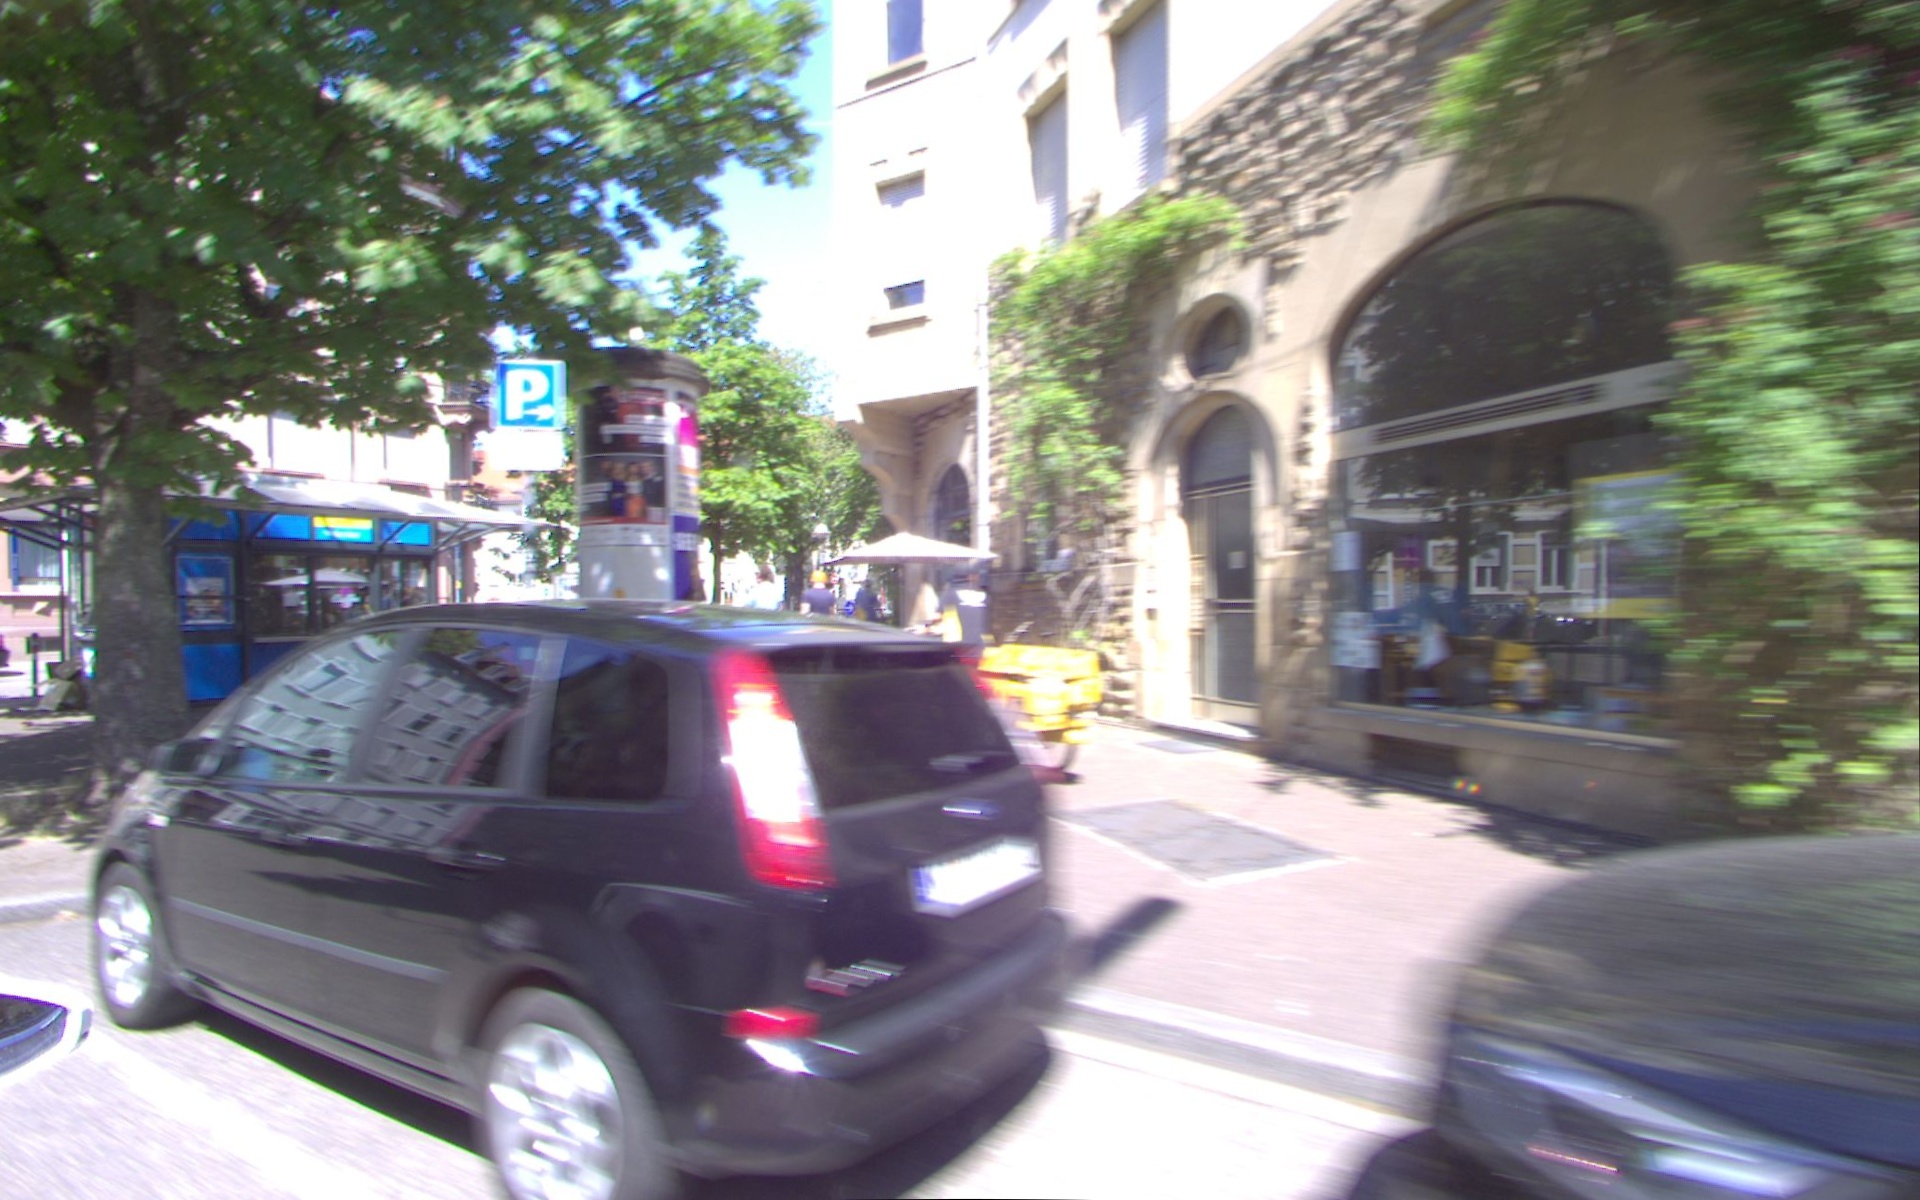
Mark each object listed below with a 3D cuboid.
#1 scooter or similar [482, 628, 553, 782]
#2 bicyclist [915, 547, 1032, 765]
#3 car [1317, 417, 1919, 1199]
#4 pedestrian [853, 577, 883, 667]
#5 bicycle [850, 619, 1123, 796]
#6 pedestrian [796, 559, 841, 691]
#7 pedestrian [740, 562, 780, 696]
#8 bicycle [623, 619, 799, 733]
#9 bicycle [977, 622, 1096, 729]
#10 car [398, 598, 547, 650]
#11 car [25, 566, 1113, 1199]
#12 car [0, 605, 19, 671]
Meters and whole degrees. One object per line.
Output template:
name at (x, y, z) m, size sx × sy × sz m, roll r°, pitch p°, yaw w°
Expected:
scooter or similar at (-3.668, 0.828, 8.353) m, size 0.436 × 1.152 × 1.182 m, roll -1°, pitch 1°, yaw -20°
bicyclist at (0.106, 0.425, 8.113) m, size 0.671 × 1.670 × 0.656 m, roll -2°, pitch 1°, yaw -38°
car at (2.712, 0.651, 0.901) m, size 4.283 × 1.617 × 1.734 m, roll 0°, pitch -2°, yaw 30°
pedestrian at (-1.908, 0.452, 20.789) m, size 0.572 × 1.818 × 0.749 m, roll -1°, pitch 1°, yaw -5°
bicycle at (0.114, 0.768, 8.188) m, size 0.787 × 1.185 × 2.558 m, roll -2°, pitch 1°, yaw -38°
pedestrian at (-2.098, 0.363, 14.925) m, size 0.589 × 1.905 × 0.883 m, roll -1°, pitch 0°, yaw -4°
pedestrian at (-2.912, 0.415, 14.591) m, size 0.510 × 1.893 × 0.653 m, roll -1°, pitch 0°, yaw -8°
bicycle at (-2.605, 0.758, 10.692) m, size 0.625 × 1.053 × 1.895 m, roll 0°, pitch 1°, yaw 33°
bicycle at (0.819, 0.802, 11.284) m, size 0.541 × 1.053 × 1.830 m, roll -1°, pitch 1°, yaw -24°
car at (-15.662, 0.726, 32.356) m, size 1.753 × 1.526 × 3.978 m, roll 0°, pitch 1°, yaw 32°
car at (-1.667, 0.762, 3.721) m, size 4.118 × 1.560 × 1.660 m, roll 0°, pitch -2°, yaw 33°
car at (-22.868, 0.853, 20.996) m, size 1.781 × 1.389 × 4.284 m, roll 3°, pitch 2°, yaw 32°
